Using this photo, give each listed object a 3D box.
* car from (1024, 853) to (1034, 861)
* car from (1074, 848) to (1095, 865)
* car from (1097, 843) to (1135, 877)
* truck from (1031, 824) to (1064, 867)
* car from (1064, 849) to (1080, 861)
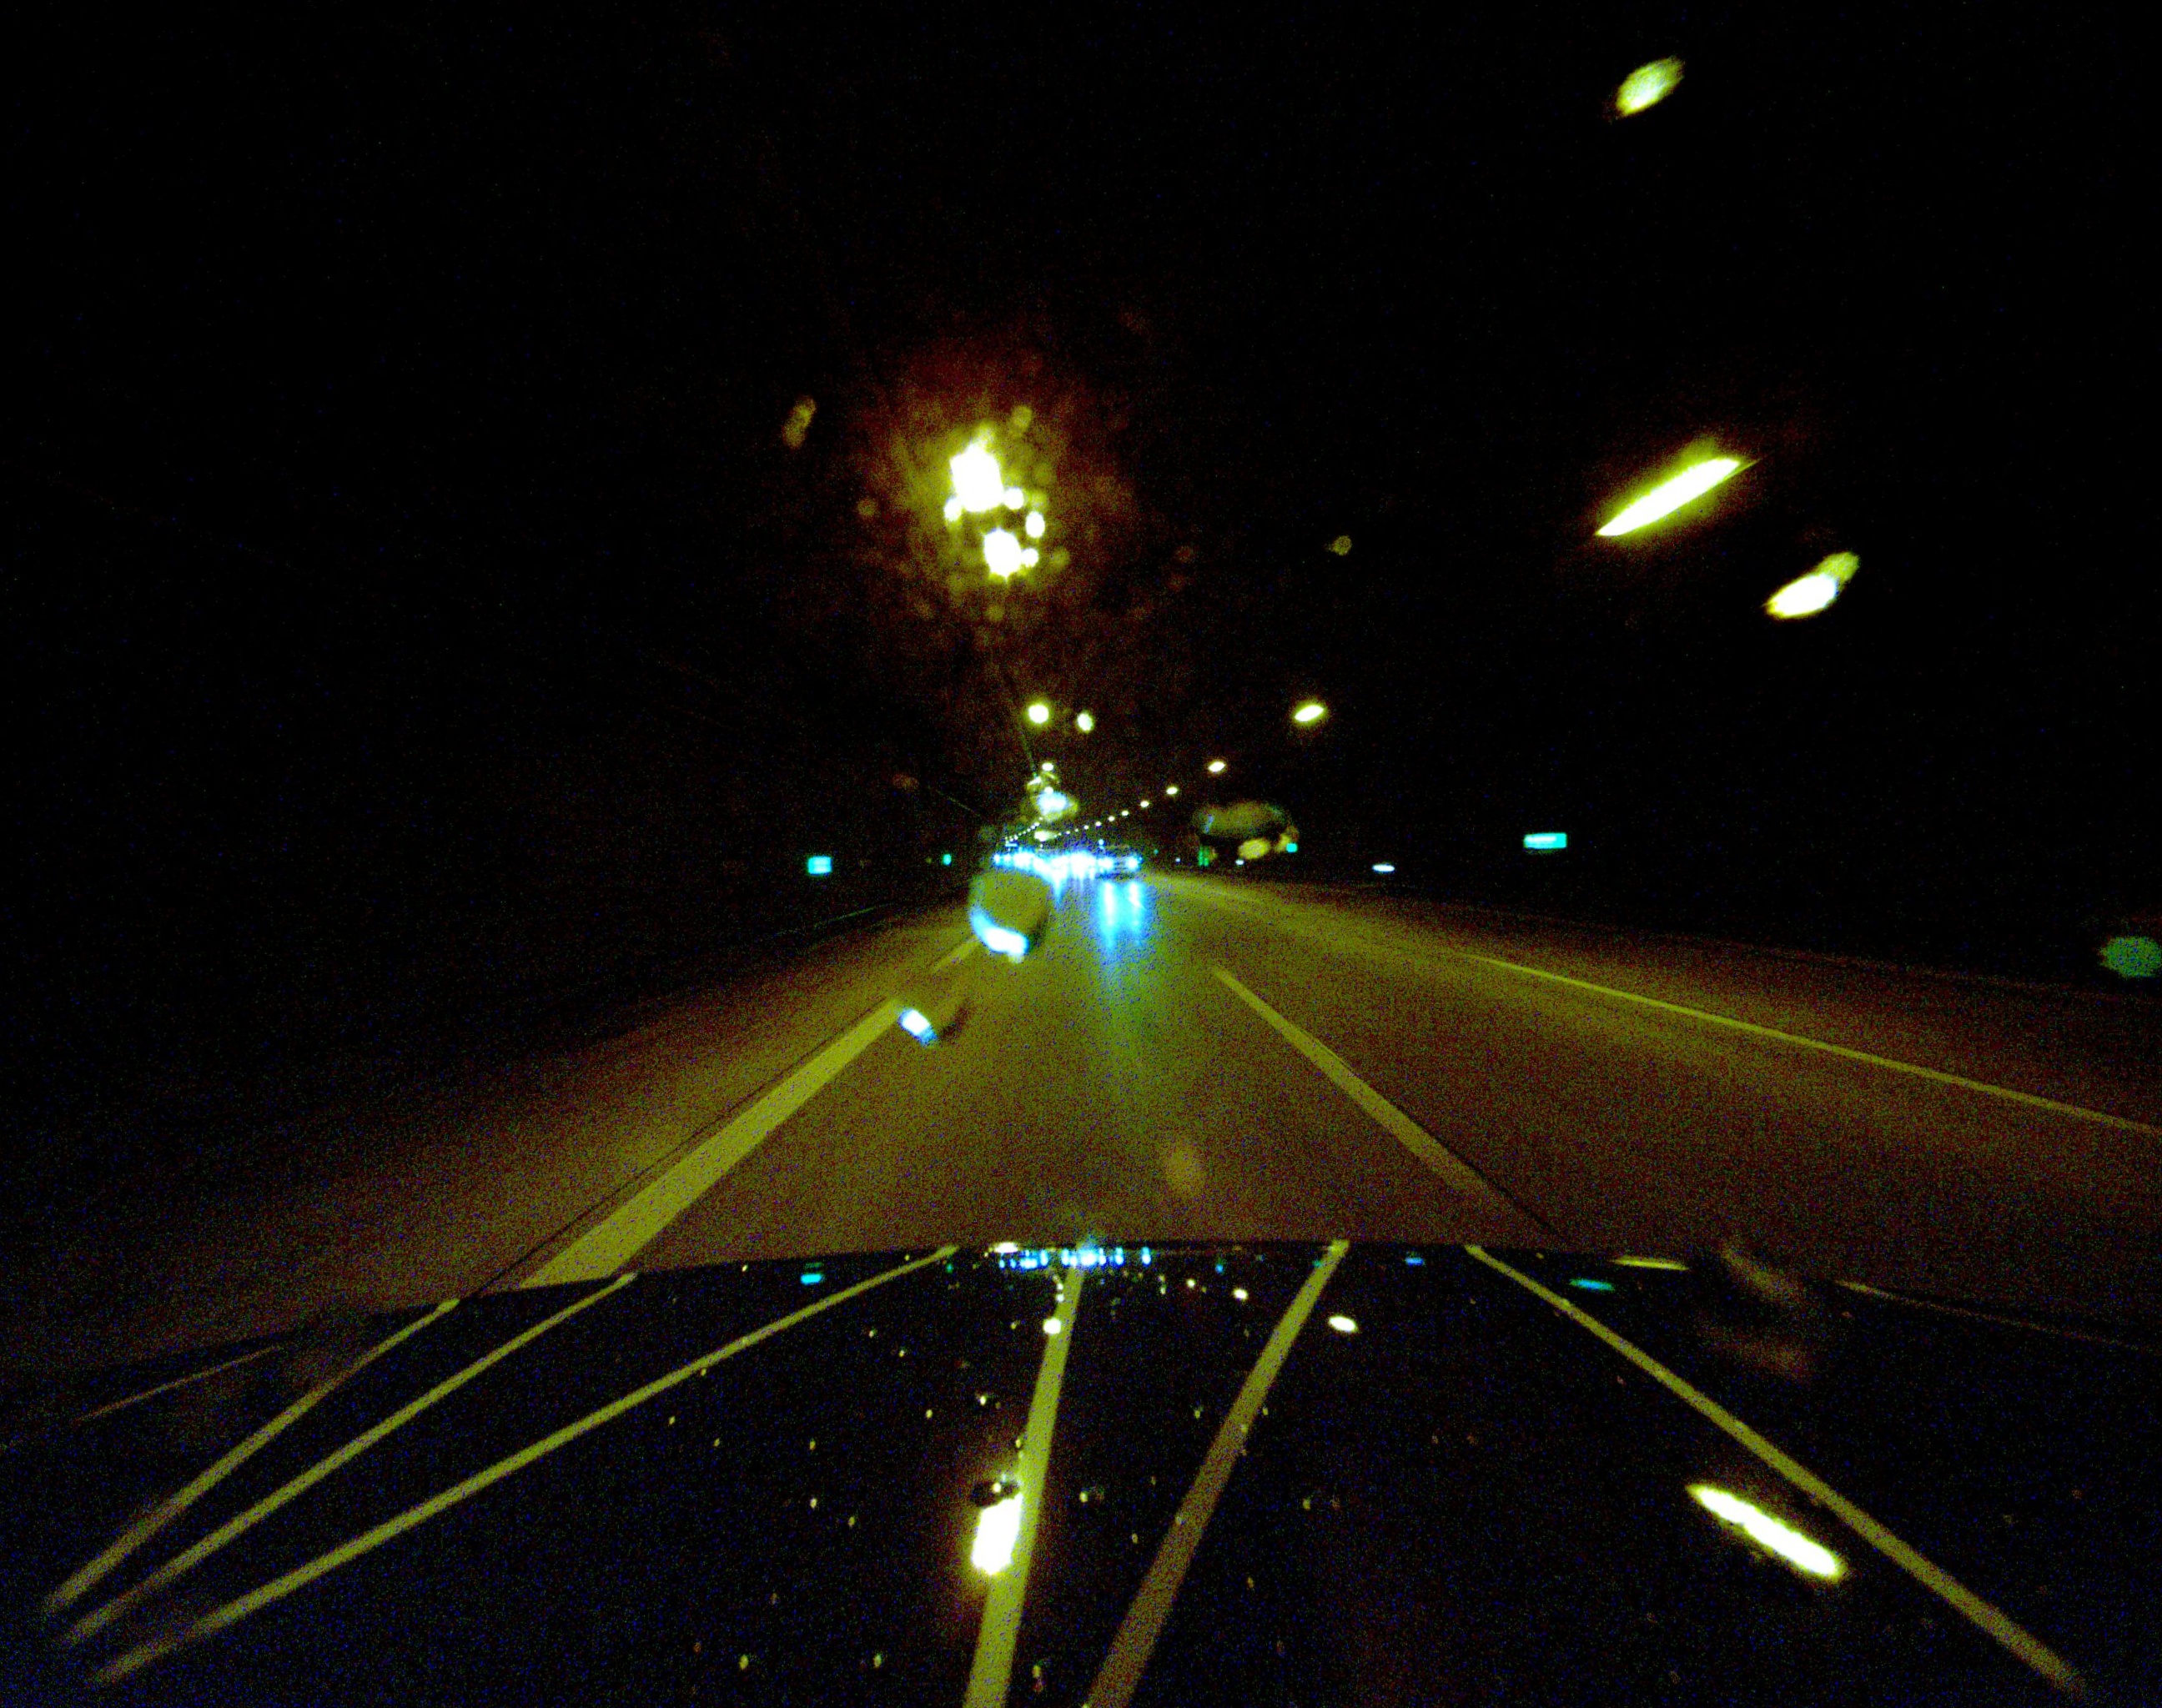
[{"bbox_3d":[-12.041,0.737,175.321,2.000,1.729,3.997,-2,0,-8],"label":"car"},{"bbox_3d":[0.356,0.247,77.992,1.910,1.638,3.999,-2,0,-3],"label":"car"},{"bbox_3d":[2.142,0.404,47.272,1.999,2.001,4.361,-2,-1,-1],"label":"car"},{"bbox_3d":[-3.407,-0.902,78.176,3.143,4.136,7.385,-2,1,-2],"label":"truck"},{"bbox_3d":[-1.222,0.140,98.441,1.759,1.567,3.998,-2,0,-5],"label":"car"}]
